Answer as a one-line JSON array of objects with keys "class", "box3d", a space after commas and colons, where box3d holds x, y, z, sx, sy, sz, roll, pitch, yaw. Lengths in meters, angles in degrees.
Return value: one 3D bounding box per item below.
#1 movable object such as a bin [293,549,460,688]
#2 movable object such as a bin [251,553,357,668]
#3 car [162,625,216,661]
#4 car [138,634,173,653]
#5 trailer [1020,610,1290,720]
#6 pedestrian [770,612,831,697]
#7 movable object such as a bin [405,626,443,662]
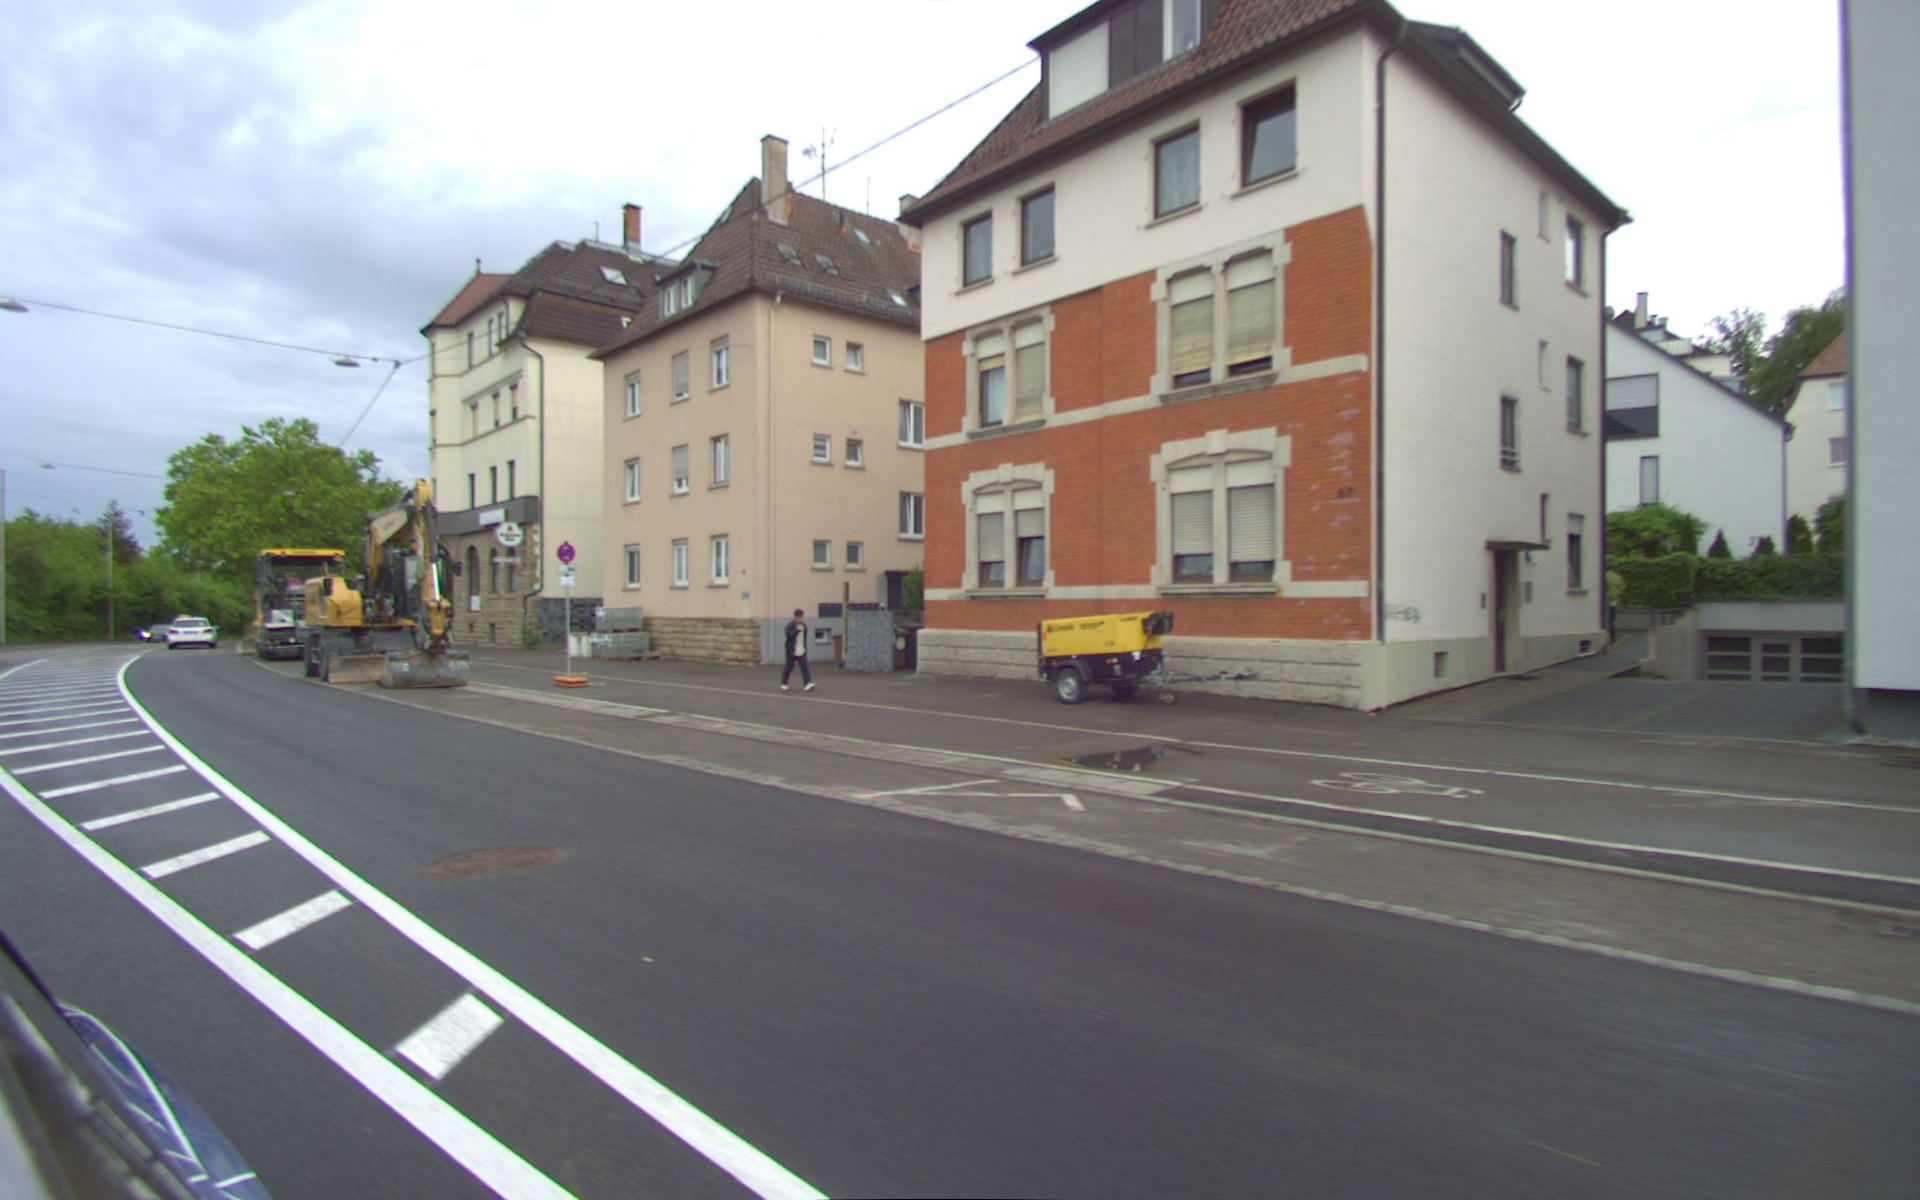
[{"class": "movable object such as a bin", "box3d": [-14.770, 0.488, 25.516, 2.789, 3.136, 4.639, 0, -2, -41]}, {"class": "movable object such as a bin", "box3d": [-24.825, 0.439, 38.118, 2.909, 3.873, 8.146, 0, -1, -36]}, {"class": "car", "box3d": [-37.541, 2.053, 49.335, 1.932, 1.656, 4.455, 1, -1, -36]}, {"class": "car", "box3d": [-62.746, 3.370, 78.986, 1.579, 1.312, 3.724, -1, -1, -30]}, {"class": "trailer", "box3d": [2.776, 0.895, 15.165, 1.307, 1.409, 4.001, -1, -1, -41]}, {"class": "pedestrian", "box3d": [-2.998, 1.012, 19.009, 0.595, 1.540, 1.039, -2, 0, -44]}, {"class": "movable object such as a bin", "box3d": [-20.540, 1.670, 38.774, 1.142, 1.312, 1.250, 0, -1, -36]}]
